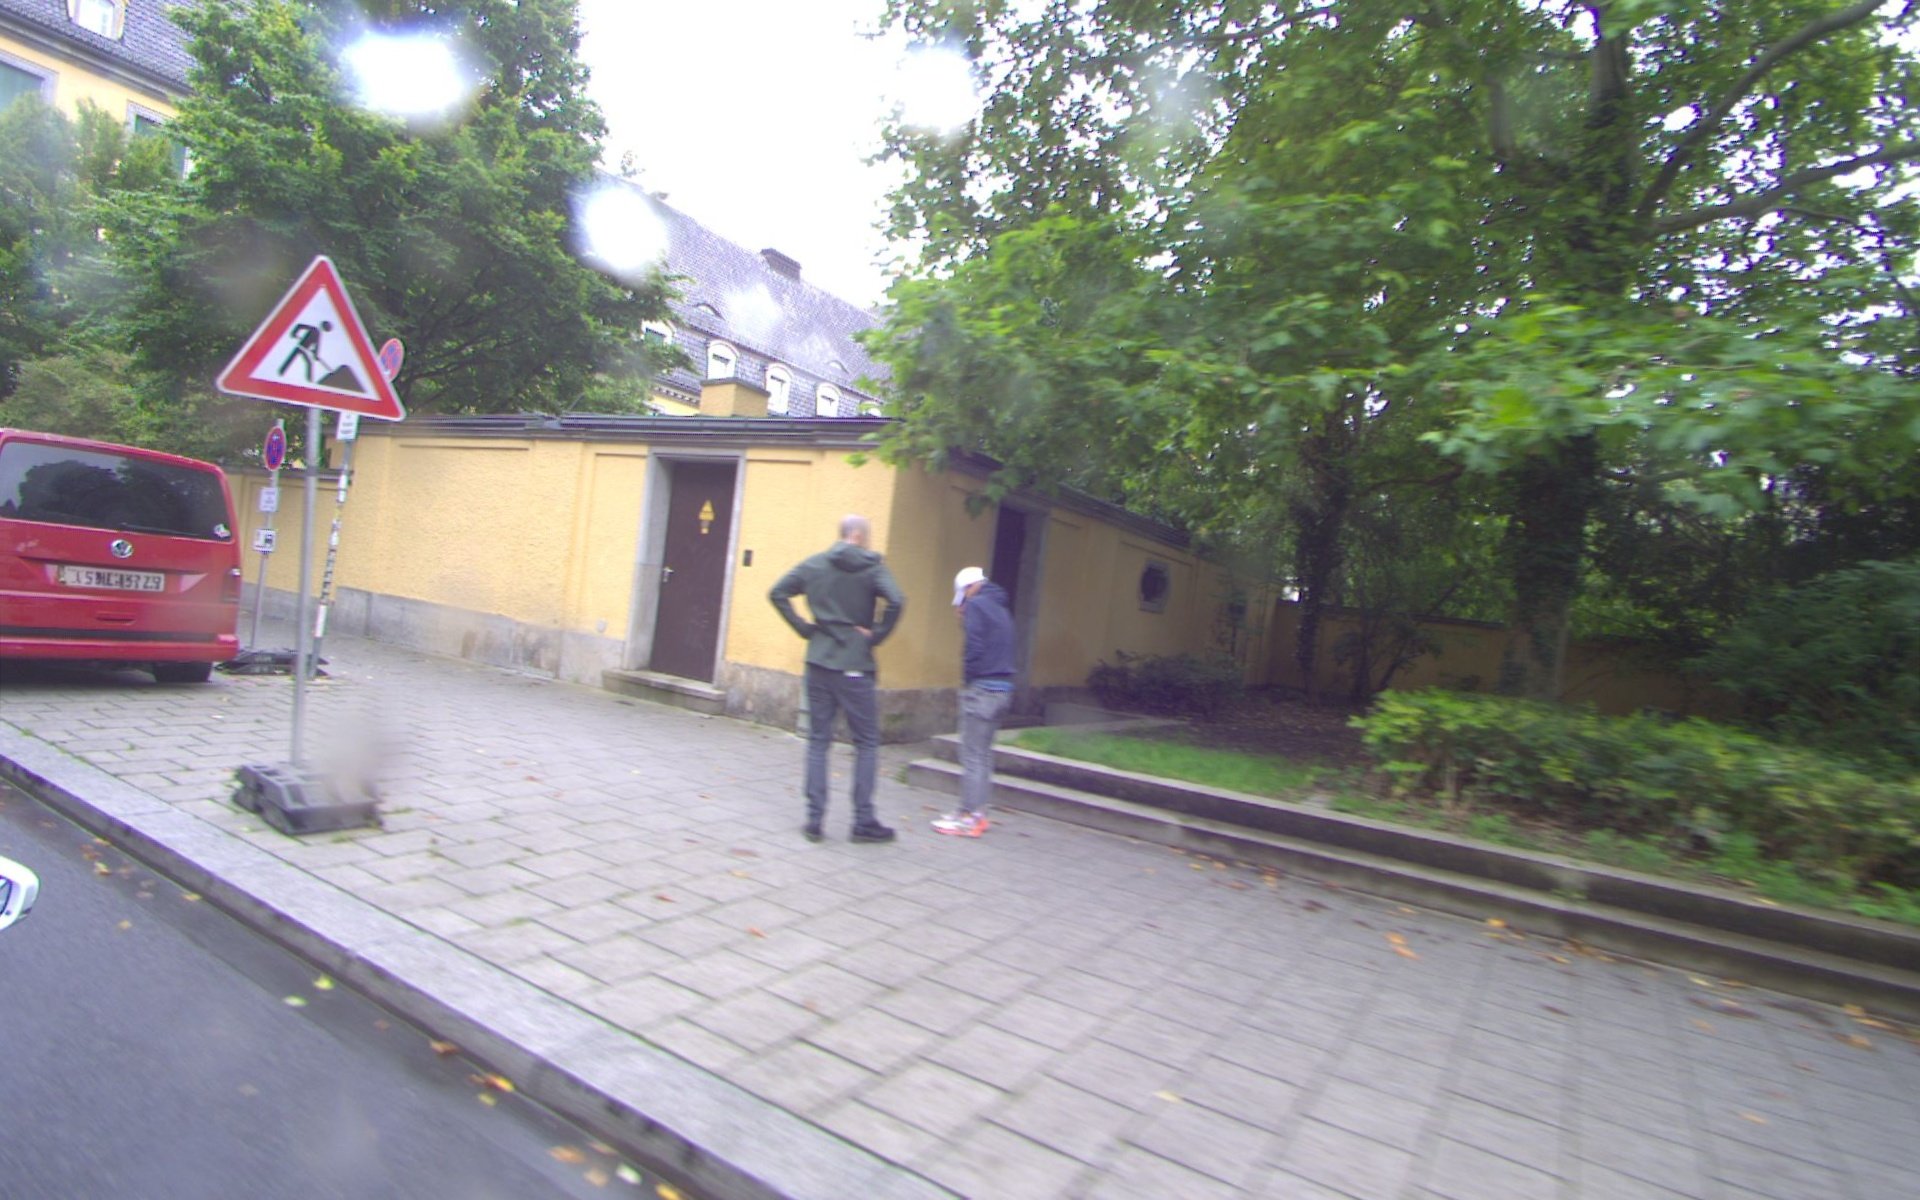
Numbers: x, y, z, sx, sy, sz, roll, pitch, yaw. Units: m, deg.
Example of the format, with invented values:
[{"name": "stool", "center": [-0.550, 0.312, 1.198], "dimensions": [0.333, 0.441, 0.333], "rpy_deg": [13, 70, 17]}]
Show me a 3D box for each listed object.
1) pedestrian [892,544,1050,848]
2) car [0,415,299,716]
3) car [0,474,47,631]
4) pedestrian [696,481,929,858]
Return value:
[{"name": "pedestrian", "center": [0.088, 0.559, 6.150], "dimensions": [0.684, 1.688, 0.635], "rpy_deg": [7, 1, 10]}, {"name": "car", "center": [-7.958, -0.395, 8.472], "dimensions": [4.885, 1.960, 1.914], "rpy_deg": [7, 0, 31]}, {"name": "car", "center": [-12.436, -0.773, 11.313], "dimensions": [4.489, 1.654, 1.996], "rpy_deg": [7, 0, 32]}, {"name": "pedestrian", "center": [-0.788, 0.363, 5.649], "dimensions": [0.934, 1.859, 0.822], "rpy_deg": [7, 1, 5]}]
